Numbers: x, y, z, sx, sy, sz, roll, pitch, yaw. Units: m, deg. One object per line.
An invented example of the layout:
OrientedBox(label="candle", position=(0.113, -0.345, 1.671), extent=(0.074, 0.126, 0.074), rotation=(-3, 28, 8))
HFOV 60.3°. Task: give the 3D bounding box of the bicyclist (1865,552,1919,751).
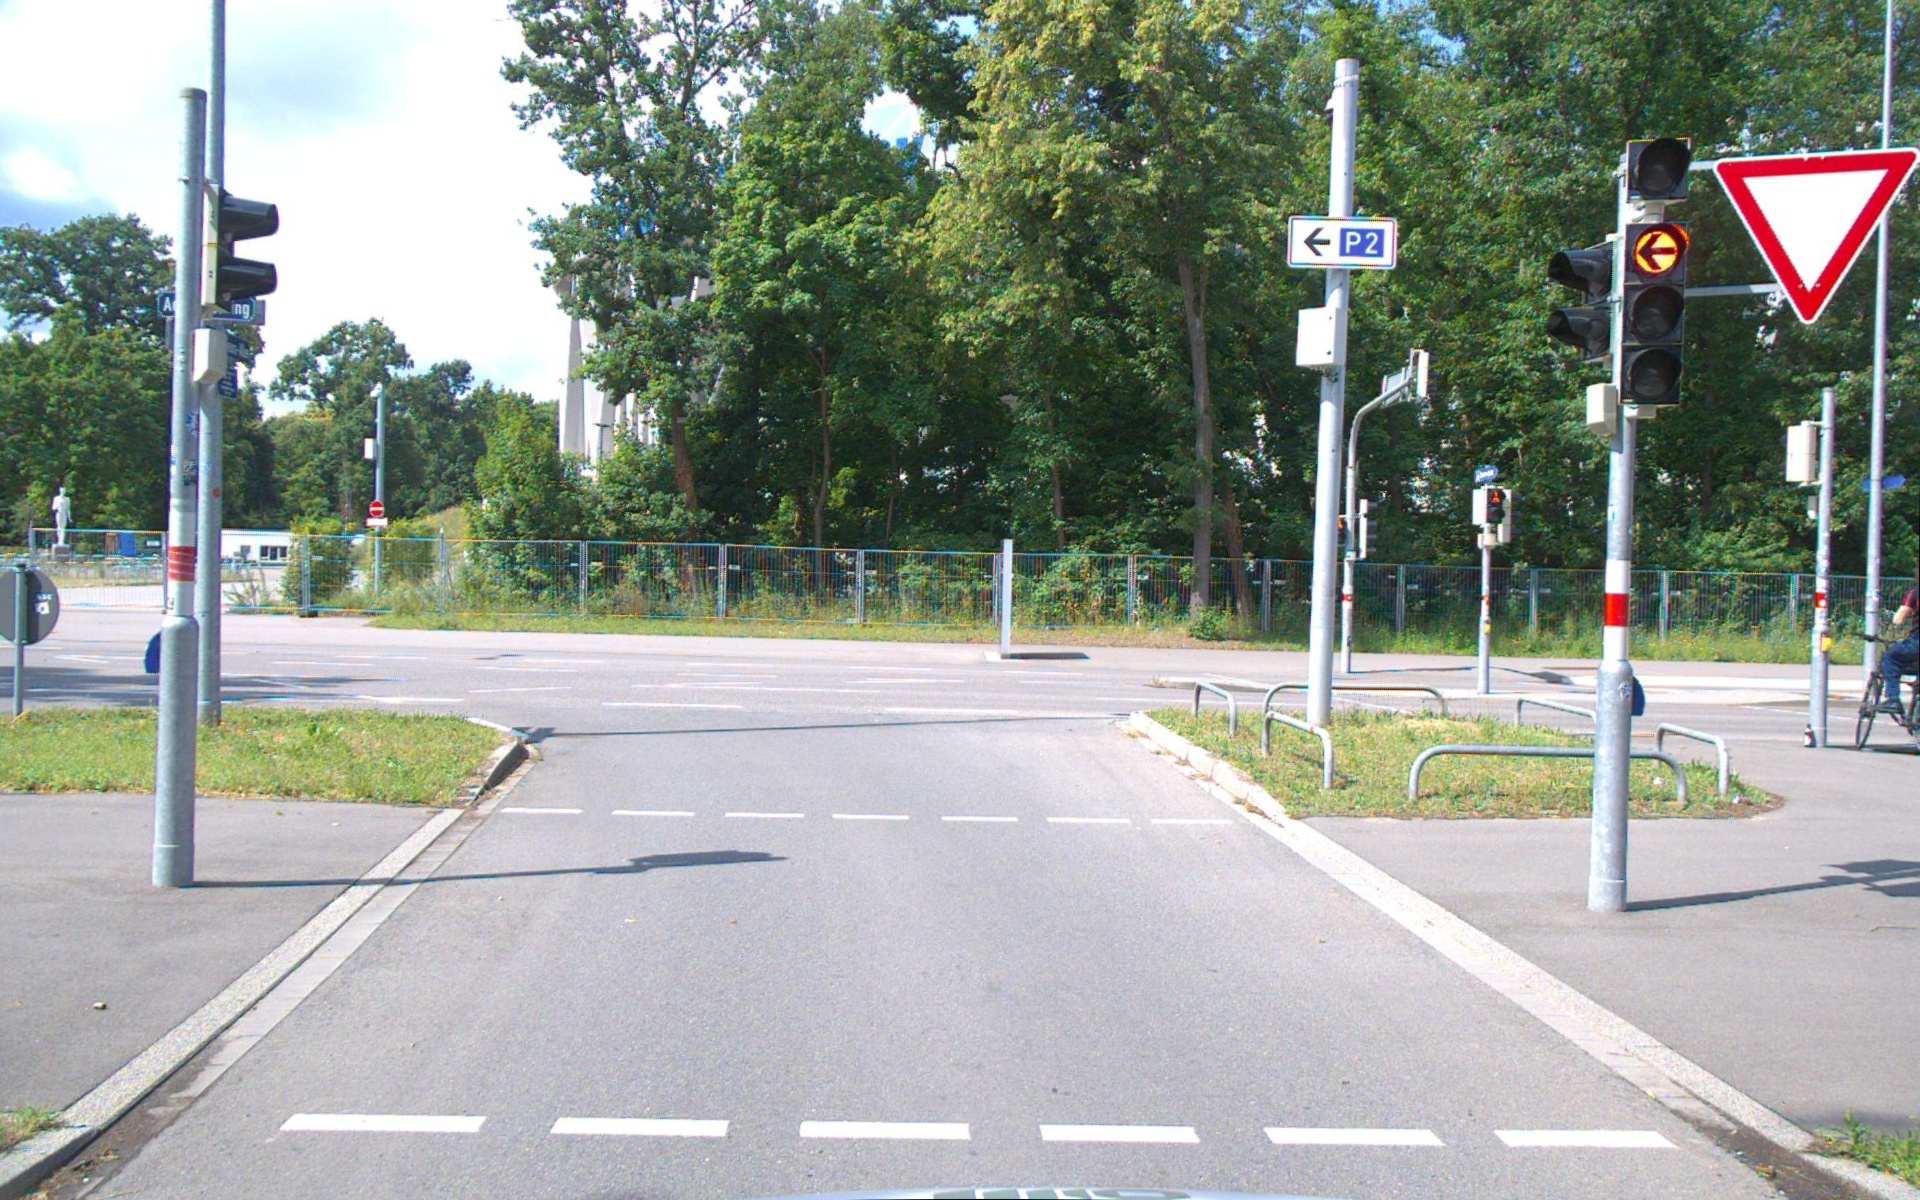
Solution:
OrientedBox(label="bicyclist", position=(9.222, 0.482, 15.624), extent=(0.866, 1.829, 0.979), rotation=(1, -1, 7))

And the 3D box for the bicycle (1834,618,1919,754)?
OrientedBox(label="bicycle", position=(9.236, 0.794, 15.908), extent=(0.861, 1.227, 1.899), rotation=(1, 0, 8))

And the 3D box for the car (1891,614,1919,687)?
OrientedBox(label="car", position=(20.436, 1.011, 32.080), extent=(3.882, 1.402, 1.602), rotation=(1, 0, -1))
